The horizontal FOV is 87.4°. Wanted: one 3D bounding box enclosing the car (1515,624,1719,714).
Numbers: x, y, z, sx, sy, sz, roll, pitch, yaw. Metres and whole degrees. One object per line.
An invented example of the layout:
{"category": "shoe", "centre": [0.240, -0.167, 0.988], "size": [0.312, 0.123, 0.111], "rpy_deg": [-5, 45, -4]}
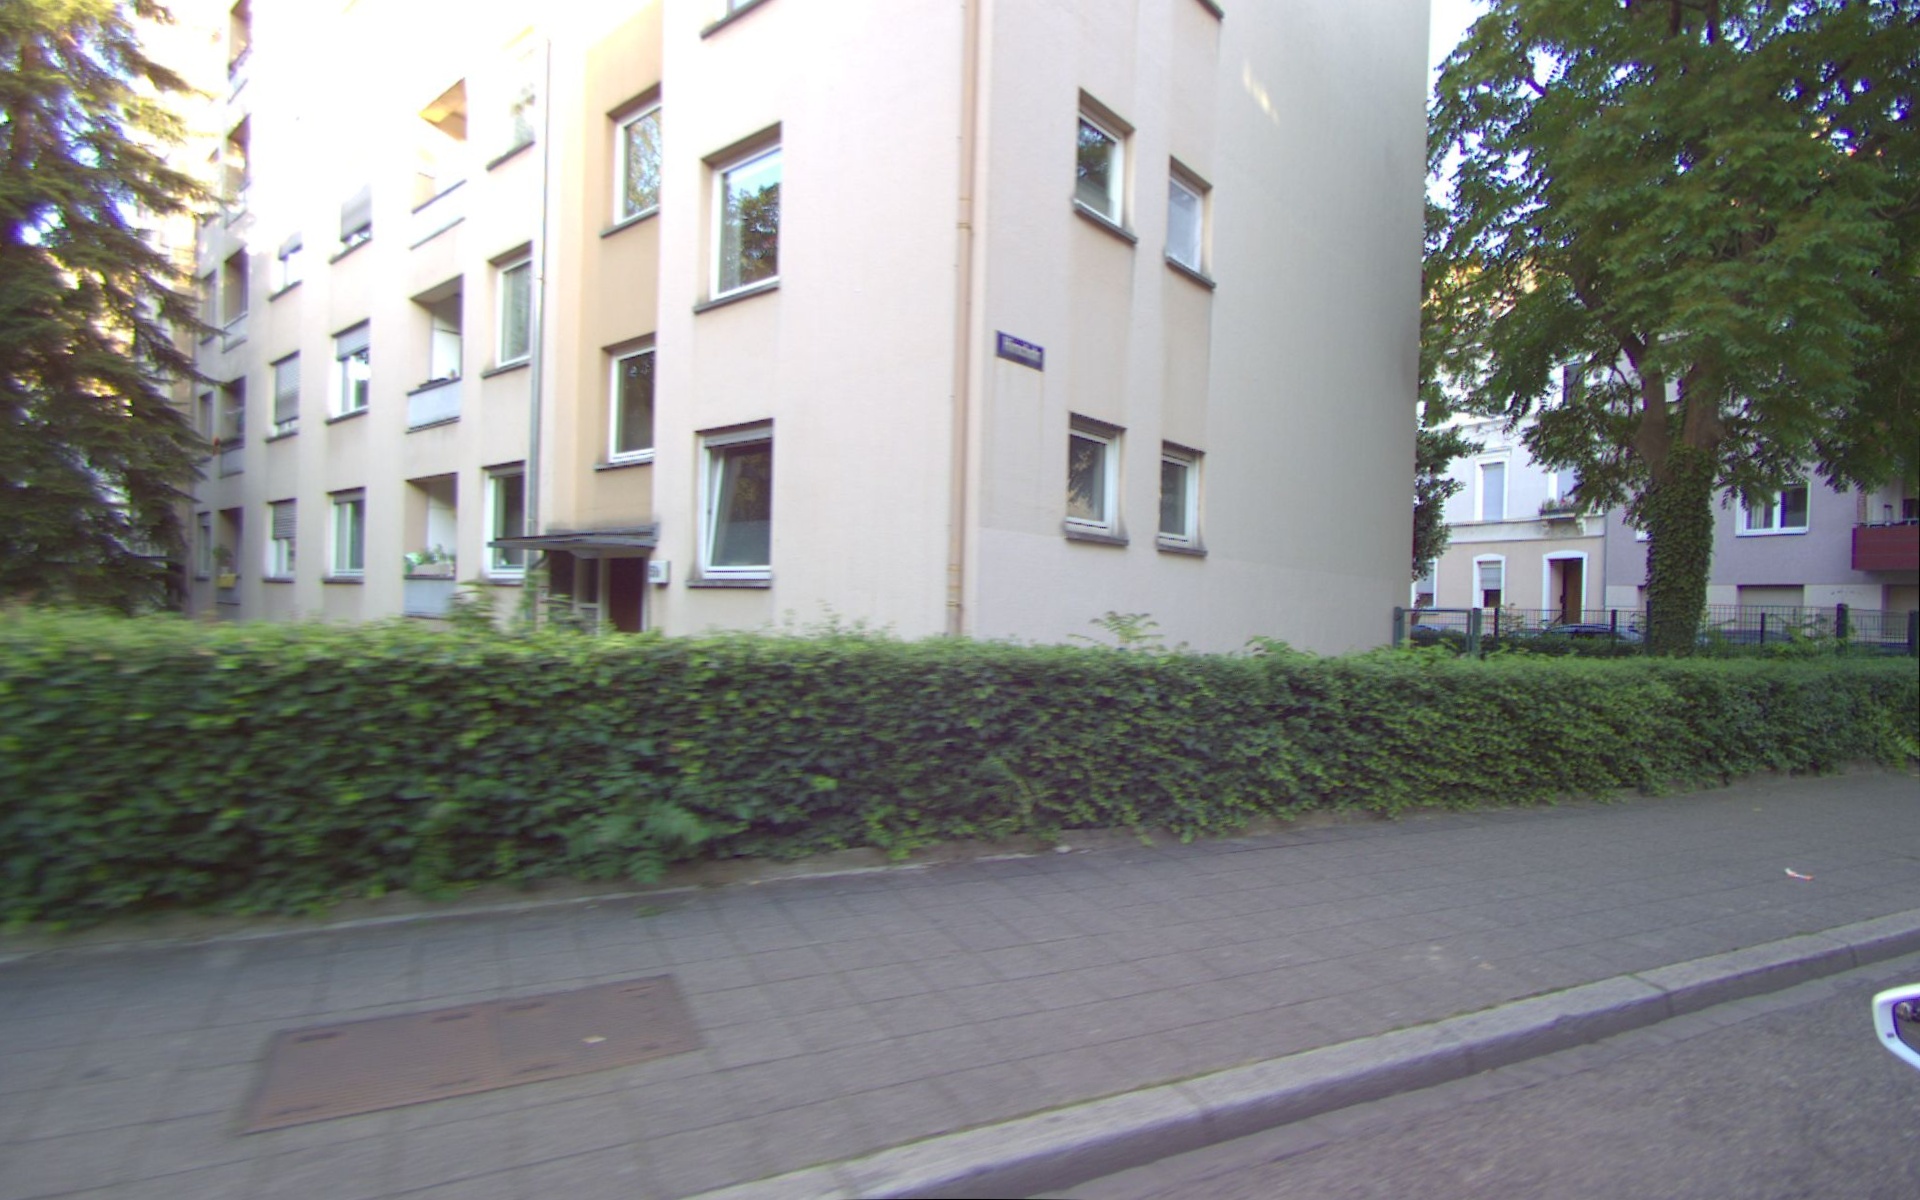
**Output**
{"category": "car", "centre": [15.182, 1.525, 23.382], "size": [1.862, 1.780, 3.506], "rpy_deg": [1, 1, -29]}

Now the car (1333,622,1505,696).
{"category": "car", "centre": [12.731, 1.570, 28.084], "size": [1.975, 1.780, 3.970], "rpy_deg": [1, 1, -29]}
